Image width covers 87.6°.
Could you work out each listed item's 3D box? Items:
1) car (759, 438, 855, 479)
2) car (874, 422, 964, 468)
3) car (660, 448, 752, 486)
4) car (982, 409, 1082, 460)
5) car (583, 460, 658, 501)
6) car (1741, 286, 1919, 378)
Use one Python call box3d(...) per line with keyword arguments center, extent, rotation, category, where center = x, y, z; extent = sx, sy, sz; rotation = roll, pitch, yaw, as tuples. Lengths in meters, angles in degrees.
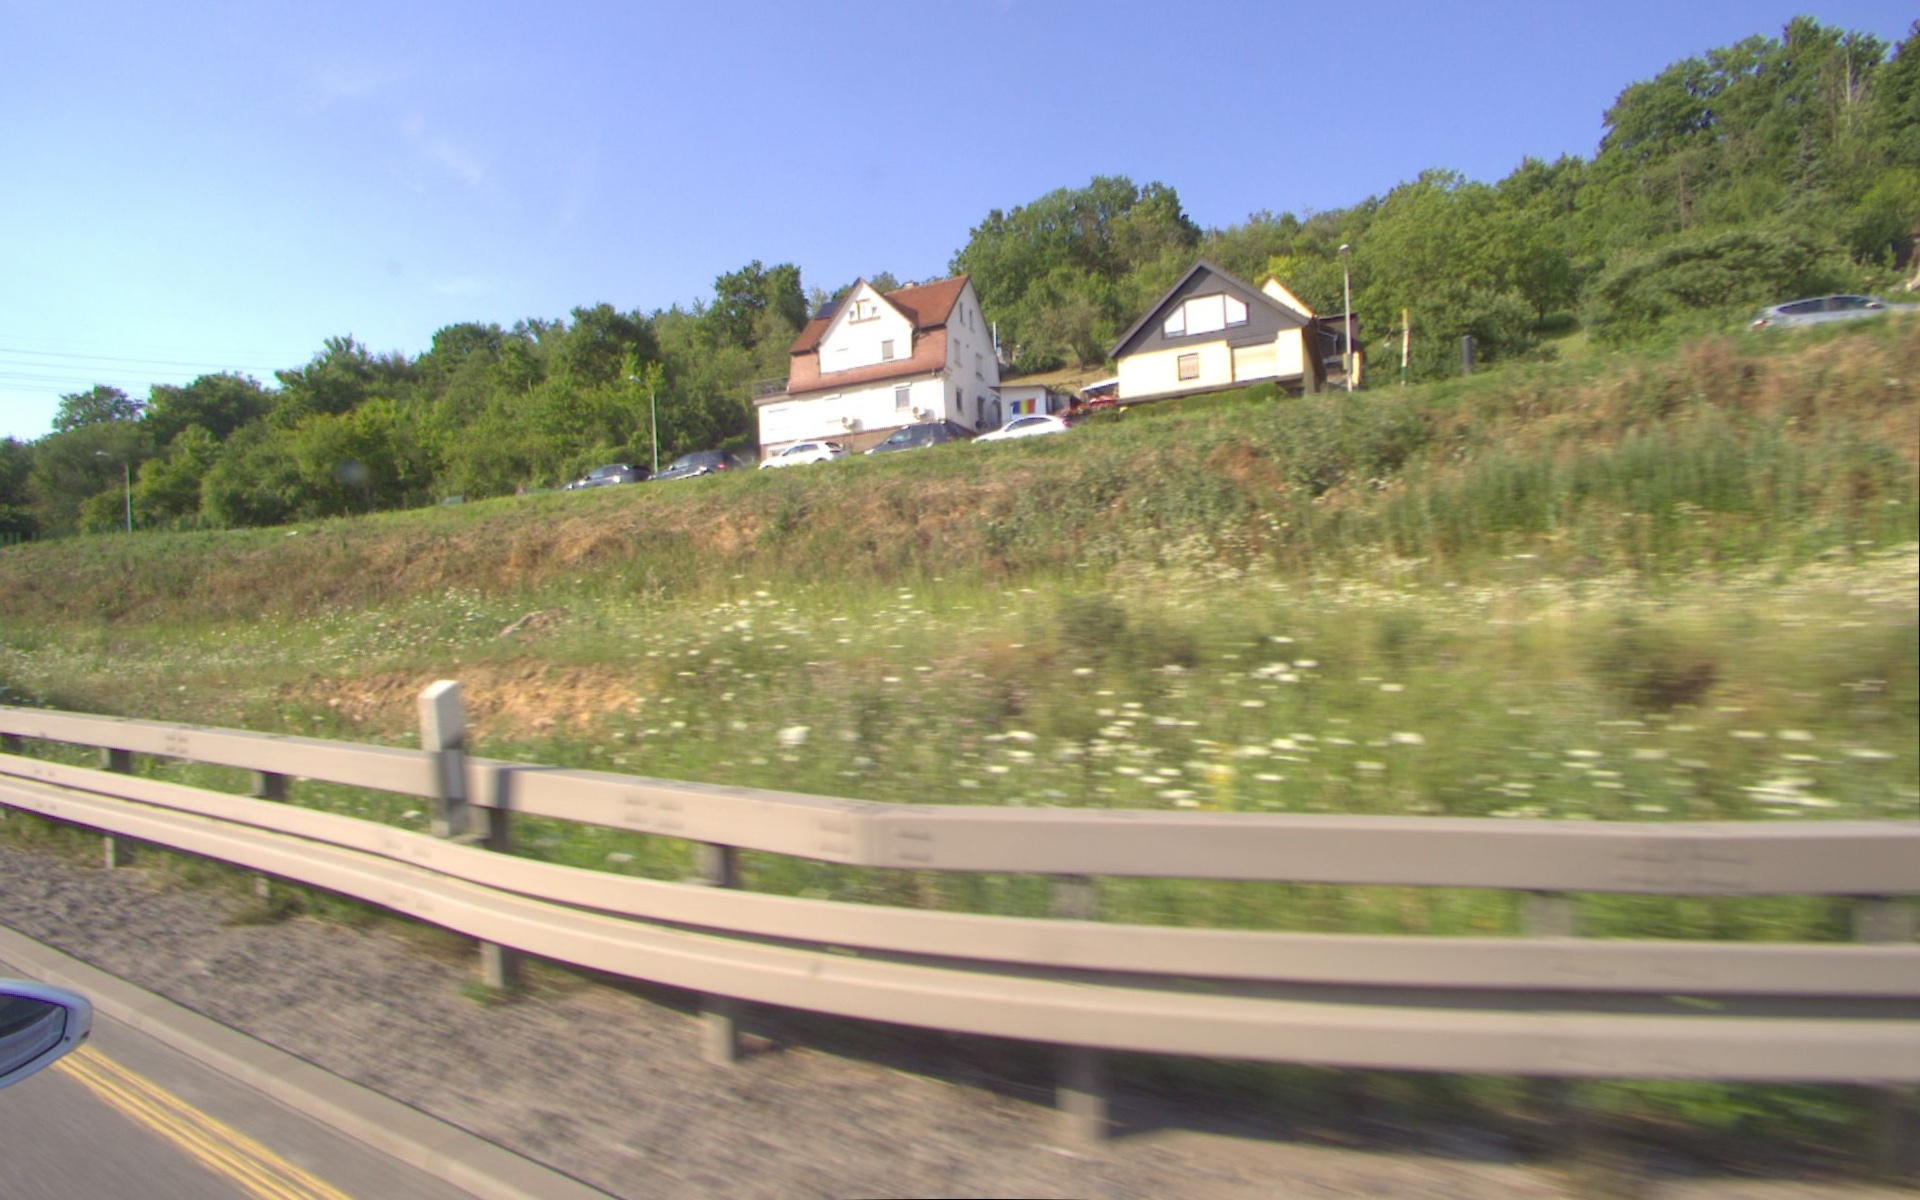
box3d(center=(-6.384, -5.879, 41.829), extent=(3.833, 1.248, 1.345), rotation=(-1, -2, 21), category="car")
box3d(center=(-1.600, -6.042, 39.152), extent=(3.286, 1.340, 1.345), rotation=(-1, -2, 21), category="car")
box3d(center=(-11.120, -5.795, 43.853), extent=(3.833, 1.248, 1.345), rotation=(-1, -2, 21), category="car")
box3d(center=(2.691, -6.150, 37.450), extent=(3.497, 1.389, 1.448), rotation=(-1, -2, 22), category="car")
box3d(center=(-15.541, -5.443, 45.878), extent=(3.179, 1.477, 1.359), rotation=(-1, -2, 24), category="car")
box3d(center=(23.239, -7.024, 26.338), extent=(3.938, 1.460, 1.993), rotation=(-1, -2, 28), category="car")
